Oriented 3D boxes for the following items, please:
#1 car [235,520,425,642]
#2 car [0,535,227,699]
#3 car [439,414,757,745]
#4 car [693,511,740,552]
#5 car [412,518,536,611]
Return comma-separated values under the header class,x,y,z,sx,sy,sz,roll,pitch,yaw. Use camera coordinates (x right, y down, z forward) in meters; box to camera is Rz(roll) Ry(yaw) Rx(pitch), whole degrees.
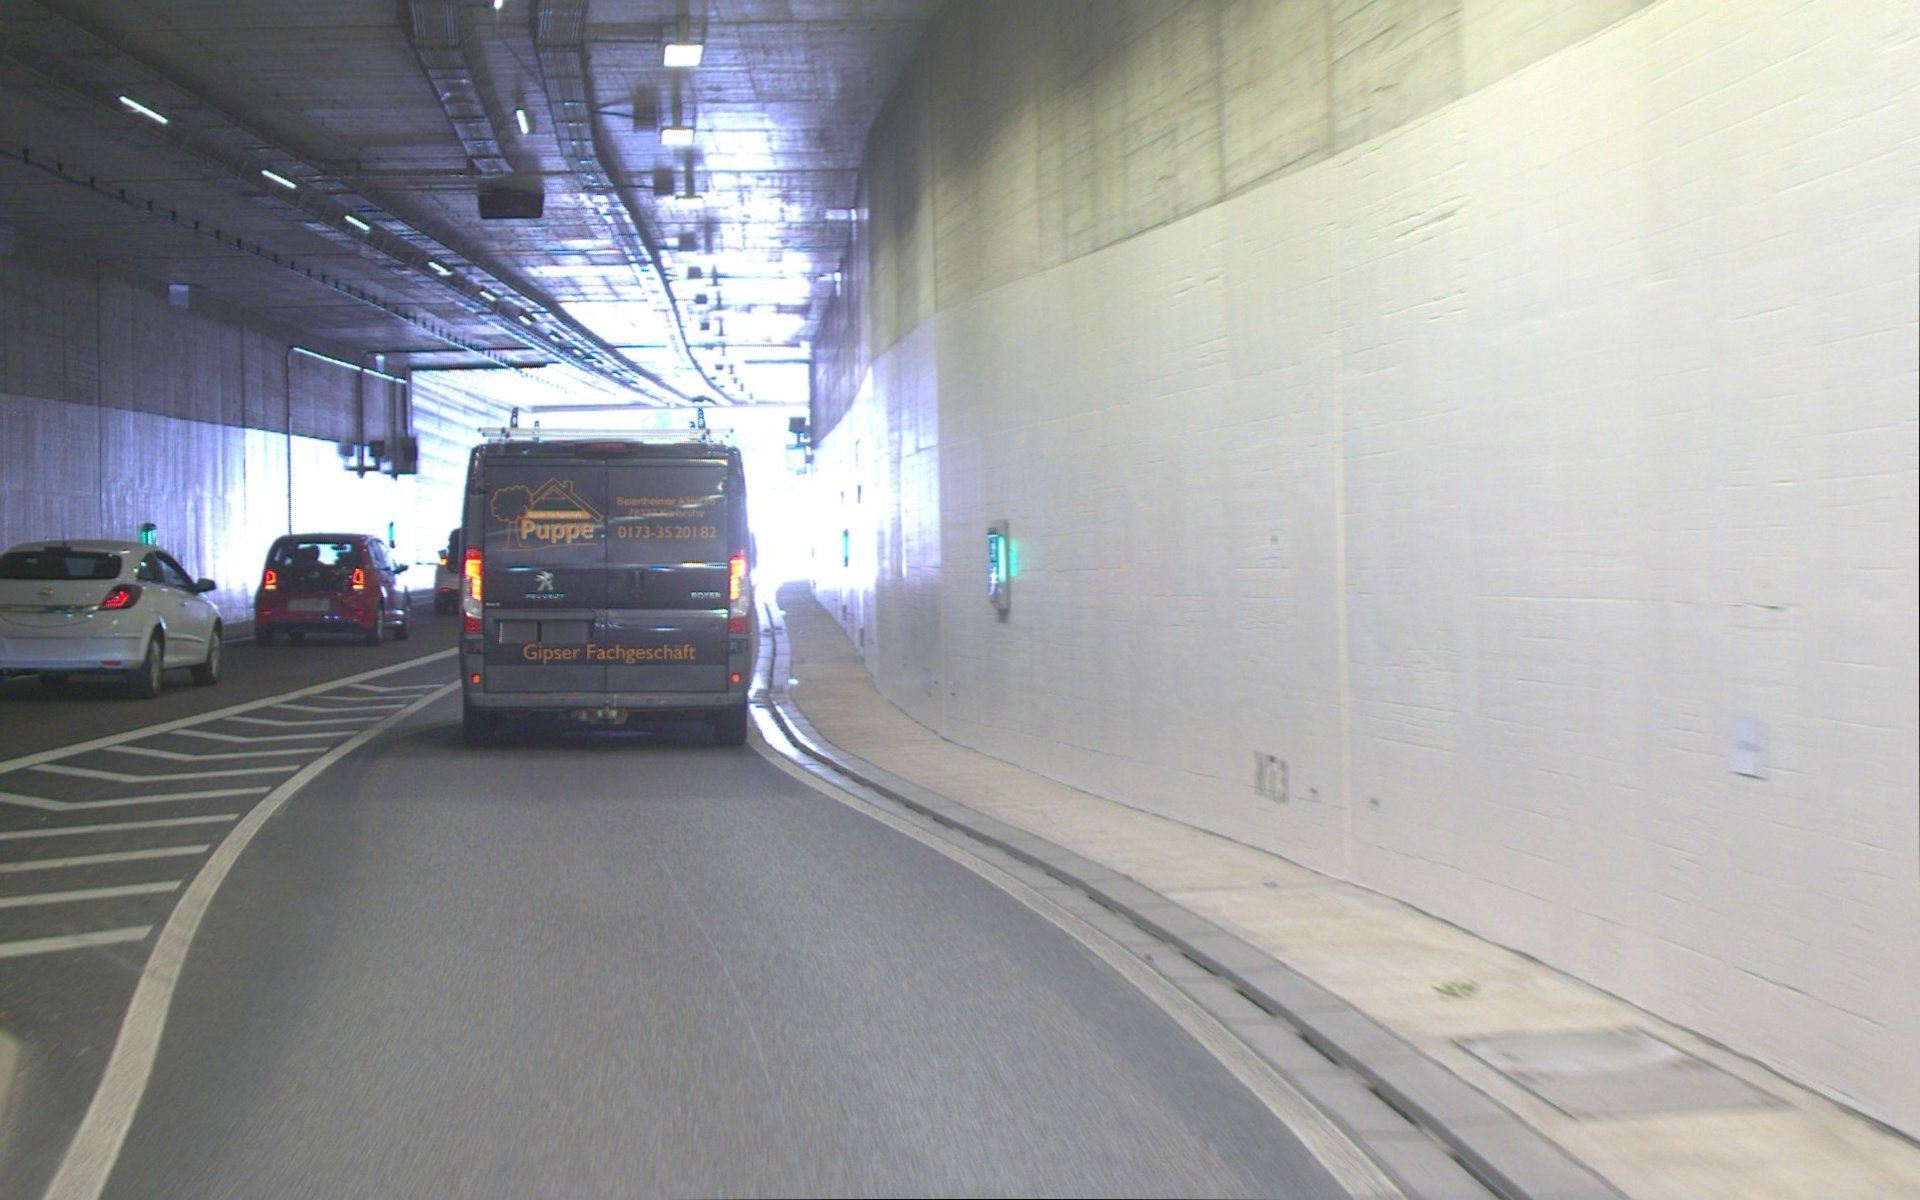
class,x,y,z,sx,sy,sz,roll,pitch,yaw
car,-8.396,-0.290,46.142,1.815,1.507,4.221,1,2,-1
car,-8.087,0.113,32.086,1.709,1.408,3.974,0,1,-1
car,-2.747,-0.166,25.920,2.158,2.258,4.638,0,1,-7
car,-10.106,-2.821,142.588,1.876,1.619,4.221,1,0,-4
car,-8.549,-0.618,60.746,1.876,1.576,4.221,1,0,-4
